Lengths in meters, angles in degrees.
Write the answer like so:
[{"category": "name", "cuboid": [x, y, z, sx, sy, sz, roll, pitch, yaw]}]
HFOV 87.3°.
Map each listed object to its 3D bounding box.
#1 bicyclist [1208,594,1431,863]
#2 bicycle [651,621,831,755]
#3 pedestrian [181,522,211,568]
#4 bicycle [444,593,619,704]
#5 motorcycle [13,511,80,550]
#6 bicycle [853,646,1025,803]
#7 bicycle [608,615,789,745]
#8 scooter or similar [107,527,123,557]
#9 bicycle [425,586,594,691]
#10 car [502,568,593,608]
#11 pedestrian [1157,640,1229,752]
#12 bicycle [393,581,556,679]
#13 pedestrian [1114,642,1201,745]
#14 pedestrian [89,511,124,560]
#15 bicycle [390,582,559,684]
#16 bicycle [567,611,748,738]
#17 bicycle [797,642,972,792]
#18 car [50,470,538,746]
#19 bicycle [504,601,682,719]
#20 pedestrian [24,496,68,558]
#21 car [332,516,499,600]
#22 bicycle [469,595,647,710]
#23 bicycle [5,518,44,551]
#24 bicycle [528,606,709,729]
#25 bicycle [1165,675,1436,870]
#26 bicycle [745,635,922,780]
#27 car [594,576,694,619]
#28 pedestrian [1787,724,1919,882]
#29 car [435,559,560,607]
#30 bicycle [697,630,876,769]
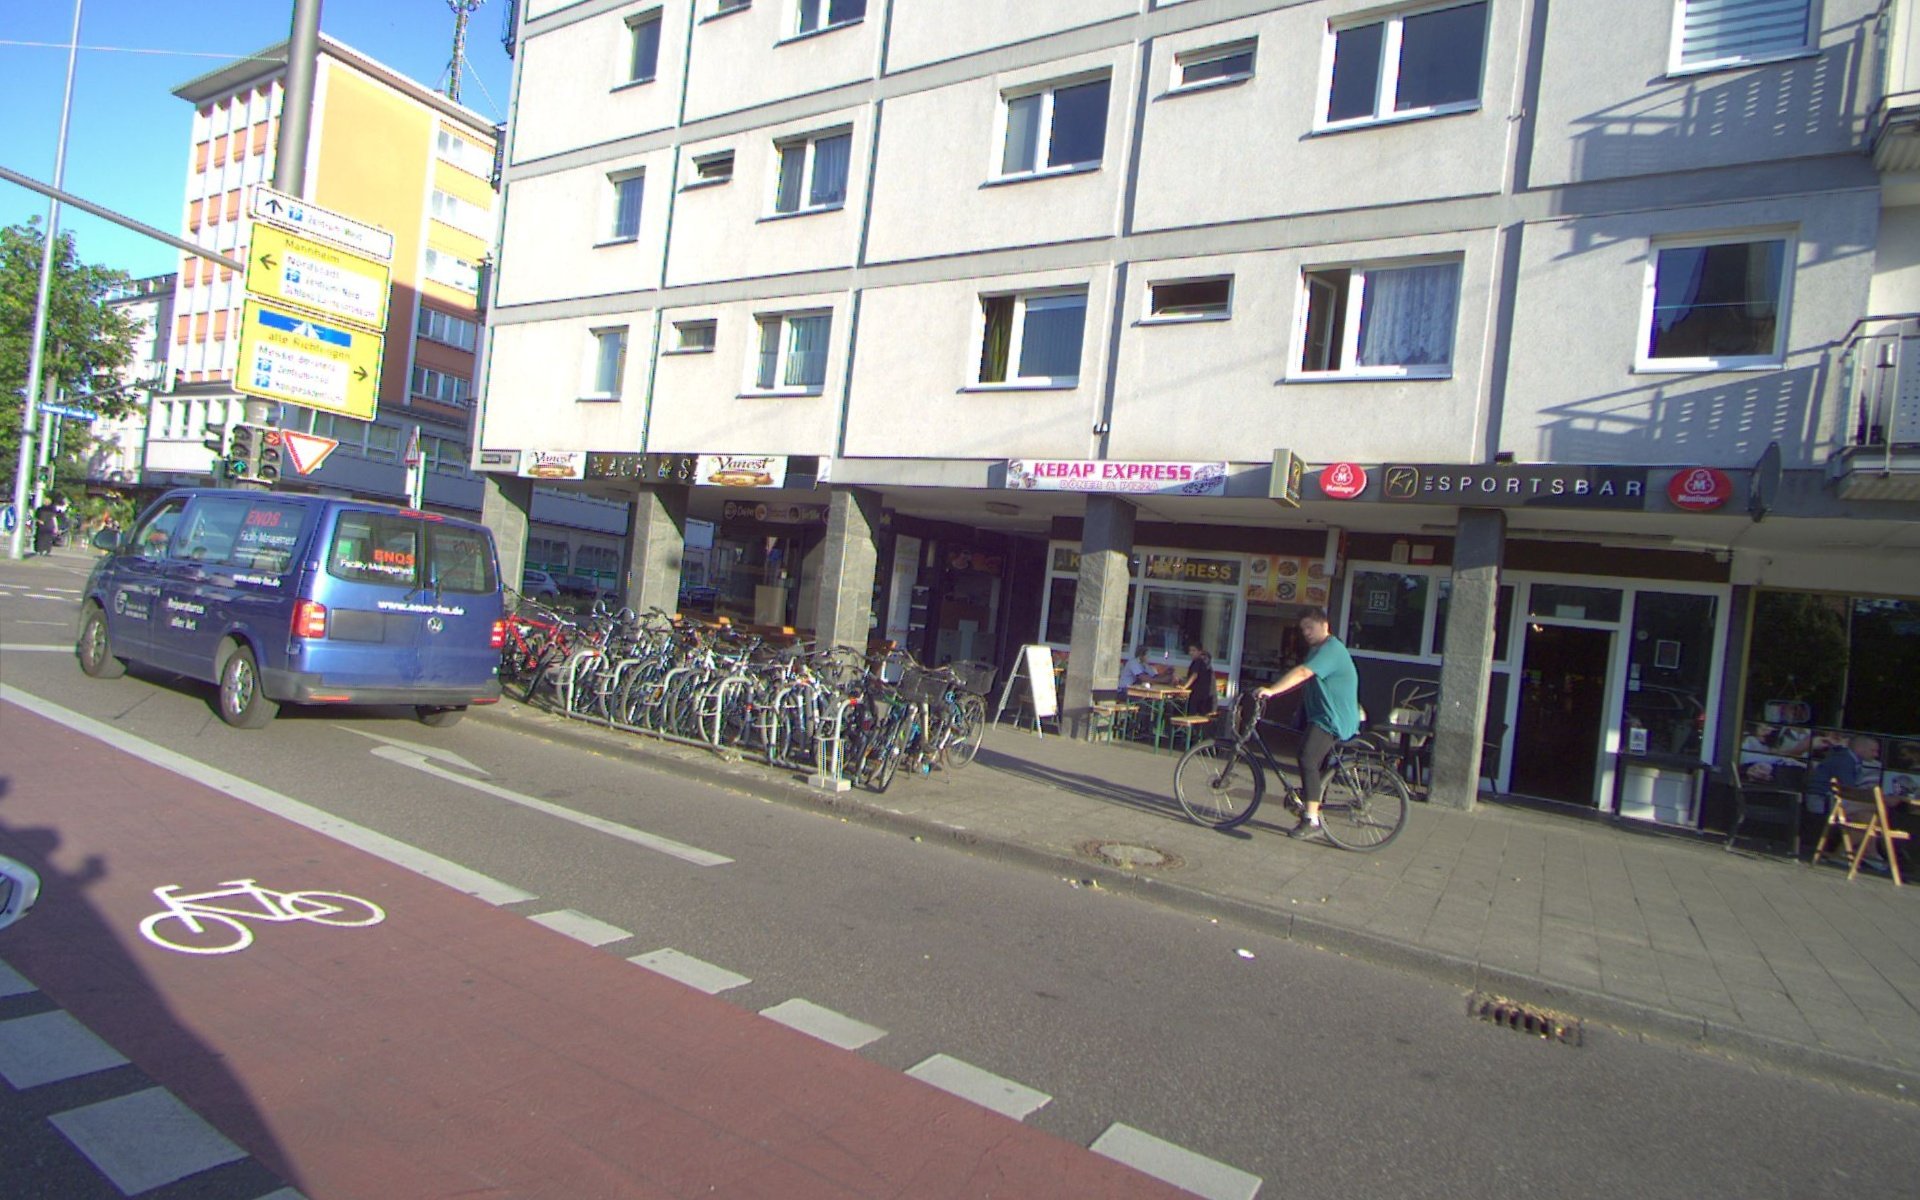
[{"category": "bicyclist", "cuboid": [2.757, 0.956, 7.876, 1.359, 1.829, 0.745, 7, 0, 11]}, {"category": "bicycle", "cuboid": [-2.080, 0.808, 9.833, 0.558, 1.140, 1.869, 6, 2, 28]}, {"category": "pedestrian", "cuboid": [-30.668, -2.205, 40.388, 0.799, 1.722, 0.569, 7, 0, 33]}, {"category": "bicycle", "cuboid": [-4.918, 0.547, 11.681, 0.558, 1.140, 1.869, 6, 2, 28]}, {"category": "motorcycle", "cuboid": [-40.806, -3.081, 44.940, 0.749, 1.423, 2.042, 7, -1, 40]}, {"category": "bicycle", "cuboid": [-0.125, 1.009, 8.722, 0.558, 1.140, 1.869, 6, 2, 28]}, {"category": "bicycle", "cuboid": [-2.569, 0.759, 10.108, 0.558, 1.140, 1.869, 6, 2, 28]}, {"category": "scooter or similar", "cuboid": [-38.546, -2.655, 45.915, 0.413, 1.269, 1.170, 7, 0, -38]}, {"category": "bicycle", "cuboid": [-5.445, 0.459, 12.278, 0.558, 1.140, 1.869, 6, 2, 28]}, {"category": "car", "cuboid": [-20.381, -0.571, 49.807, 1.728, 1.528, 3.766, 7, -1, 33]}, {"category": "pedestrian", "cuboid": [3.038, 1.250, 13.144, 0.623, 1.374, 0.462, 7, 0, -20]}, {"category": "bicycle", "cuboid": [-6.328, 0.391, 13.220, 0.596, 1.140, 1.869, 6, 2, 28]}, {"category": "pedestrian", "cuboid": [2.718, 1.280, 13.879, 0.848, 1.289, 0.644, 7, 0, -21]}, {"category": "pedestrian", "cuboid": [-30.071, -2.282, 35.440, 0.735, 1.609, 0.681, 7, 0, 37]}, {"category": "bicycle", "cuboid": [-6.021, 0.408, 12.595, 0.558, 1.140, 1.869, 6, 2, 28]}, {"category": "bicycle", "cuboid": [-3.061, 0.726, 10.379, 0.558, 1.140, 1.869, 6, 2, 28]}, {"category": "bicycle", "cuboid": [-0.620, 0.978, 9.003, 0.558, 1.140, 1.869, 6, 2, 28]}, {"category": "car", "cuboid": [-6.437, -0.024, 9.562, 4.752, 1.957, 1.939, 6, -1, 32]}, {"category": "bicycle", "cuboid": [-3.975, 0.636, 11.056, 0.558, 1.140, 1.869, 6, 2, 28]}, {"category": "pedestrian", "cuboid": [-27.566, -2.203, 30.346, 1.055, 1.725, 0.661, 7, 0, 37]}, {"category": "car", "cuboid": [-21.020, -1.572, 39.092, 1.894, 2.512, 5.257, 7, -1, 32]}, {"category": "bicycle", "cuboid": [-4.468, 0.570, 11.330, 0.558, 1.140, 1.869, 6, 2, 28]}, {"category": "bicycle", "cuboid": [-39.003, -2.746, 41.939, 2.090, 1.172, 0.645, 7, 0, 34]}, {"category": "bicycle", "cuboid": [-3.554, 0.680, 10.648, 0.558, 1.140, 1.869, 6, 2, 28]}, {"category": "bicycle", "cuboid": [2.599, 1.307, 7.862, 1.838, 1.193, 0.568, 6, 2, 11]}, {"category": "bicycle", "cuboid": [-1.107, 0.925, 9.270, 0.558, 1.140, 1.869, 6, 2, 28]}, {"category": "car", "cuboid": [-14.198, -0.091, 45.326, 1.759, 1.481, 3.991, 6, -1, 33]}, {"category": "pedestrian", "cuboid": [8.715, 1.929, 9.728, 0.939, 1.310, 0.645, 6, 0, 34]}, {"category": "car", "cuboid": [-17.736, -0.622, 38.724, 1.777, 1.393, 3.992, 5, -2, 32]}, {"category": "bicycle", "cuboid": [-1.590, 0.883, 9.560, 0.558, 1.140, 1.869, 6, 2, 28]}]
